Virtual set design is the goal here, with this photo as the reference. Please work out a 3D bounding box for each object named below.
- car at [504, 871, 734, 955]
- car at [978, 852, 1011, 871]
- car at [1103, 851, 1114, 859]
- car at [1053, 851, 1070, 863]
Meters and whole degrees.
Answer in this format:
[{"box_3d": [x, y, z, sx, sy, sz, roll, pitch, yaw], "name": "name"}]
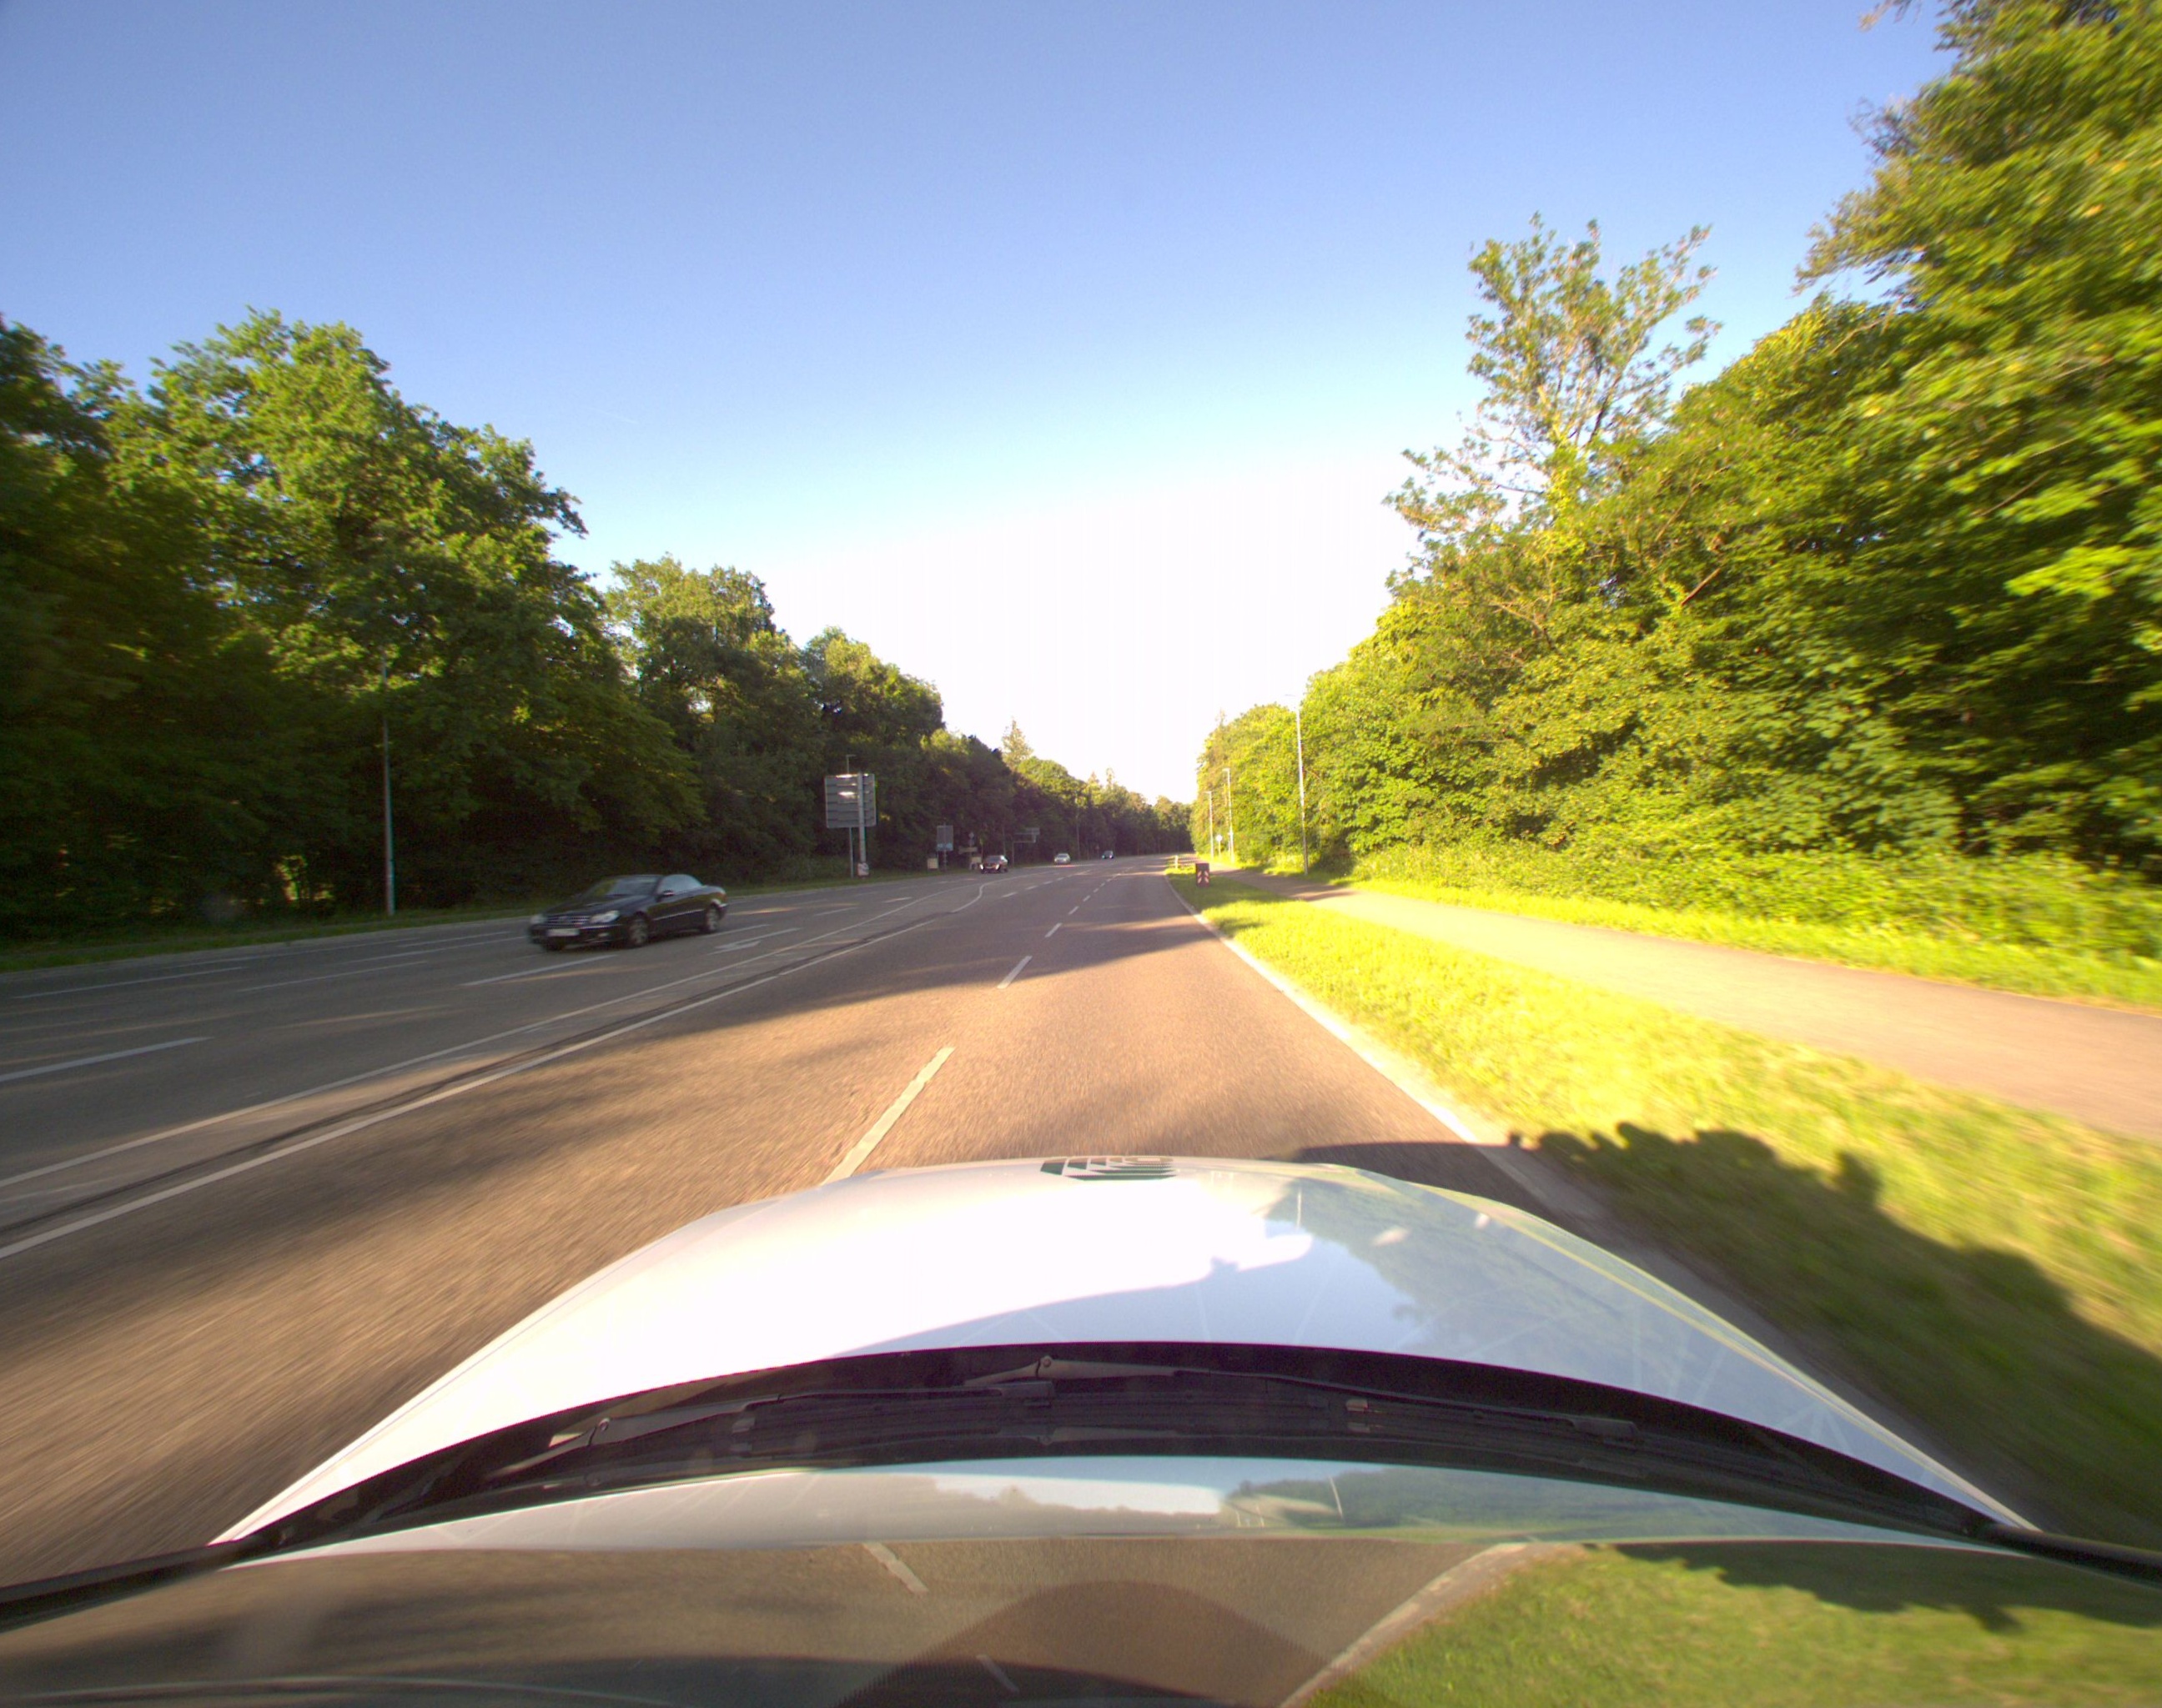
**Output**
[{"box_3d": [-8.775, 1.039, 16.054, 1.738, 1.234, 4.674, -2, 0, 1], "name": "car"}, {"box_3d": [-7.458, 0.625, 70.348, 1.814, 1.544, 4.266, -2, 0, 8], "name": "car"}, {"box_3d": [5.664, 0.186, 165.842, 1.815, 1.589, 4.359, -2, 0, 6], "name": "car"}, {"box_3d": [-2.675, 0.377, 111.762, 1.815, 1.504, 4.314, -2, 0, 6], "name": "car"}]
